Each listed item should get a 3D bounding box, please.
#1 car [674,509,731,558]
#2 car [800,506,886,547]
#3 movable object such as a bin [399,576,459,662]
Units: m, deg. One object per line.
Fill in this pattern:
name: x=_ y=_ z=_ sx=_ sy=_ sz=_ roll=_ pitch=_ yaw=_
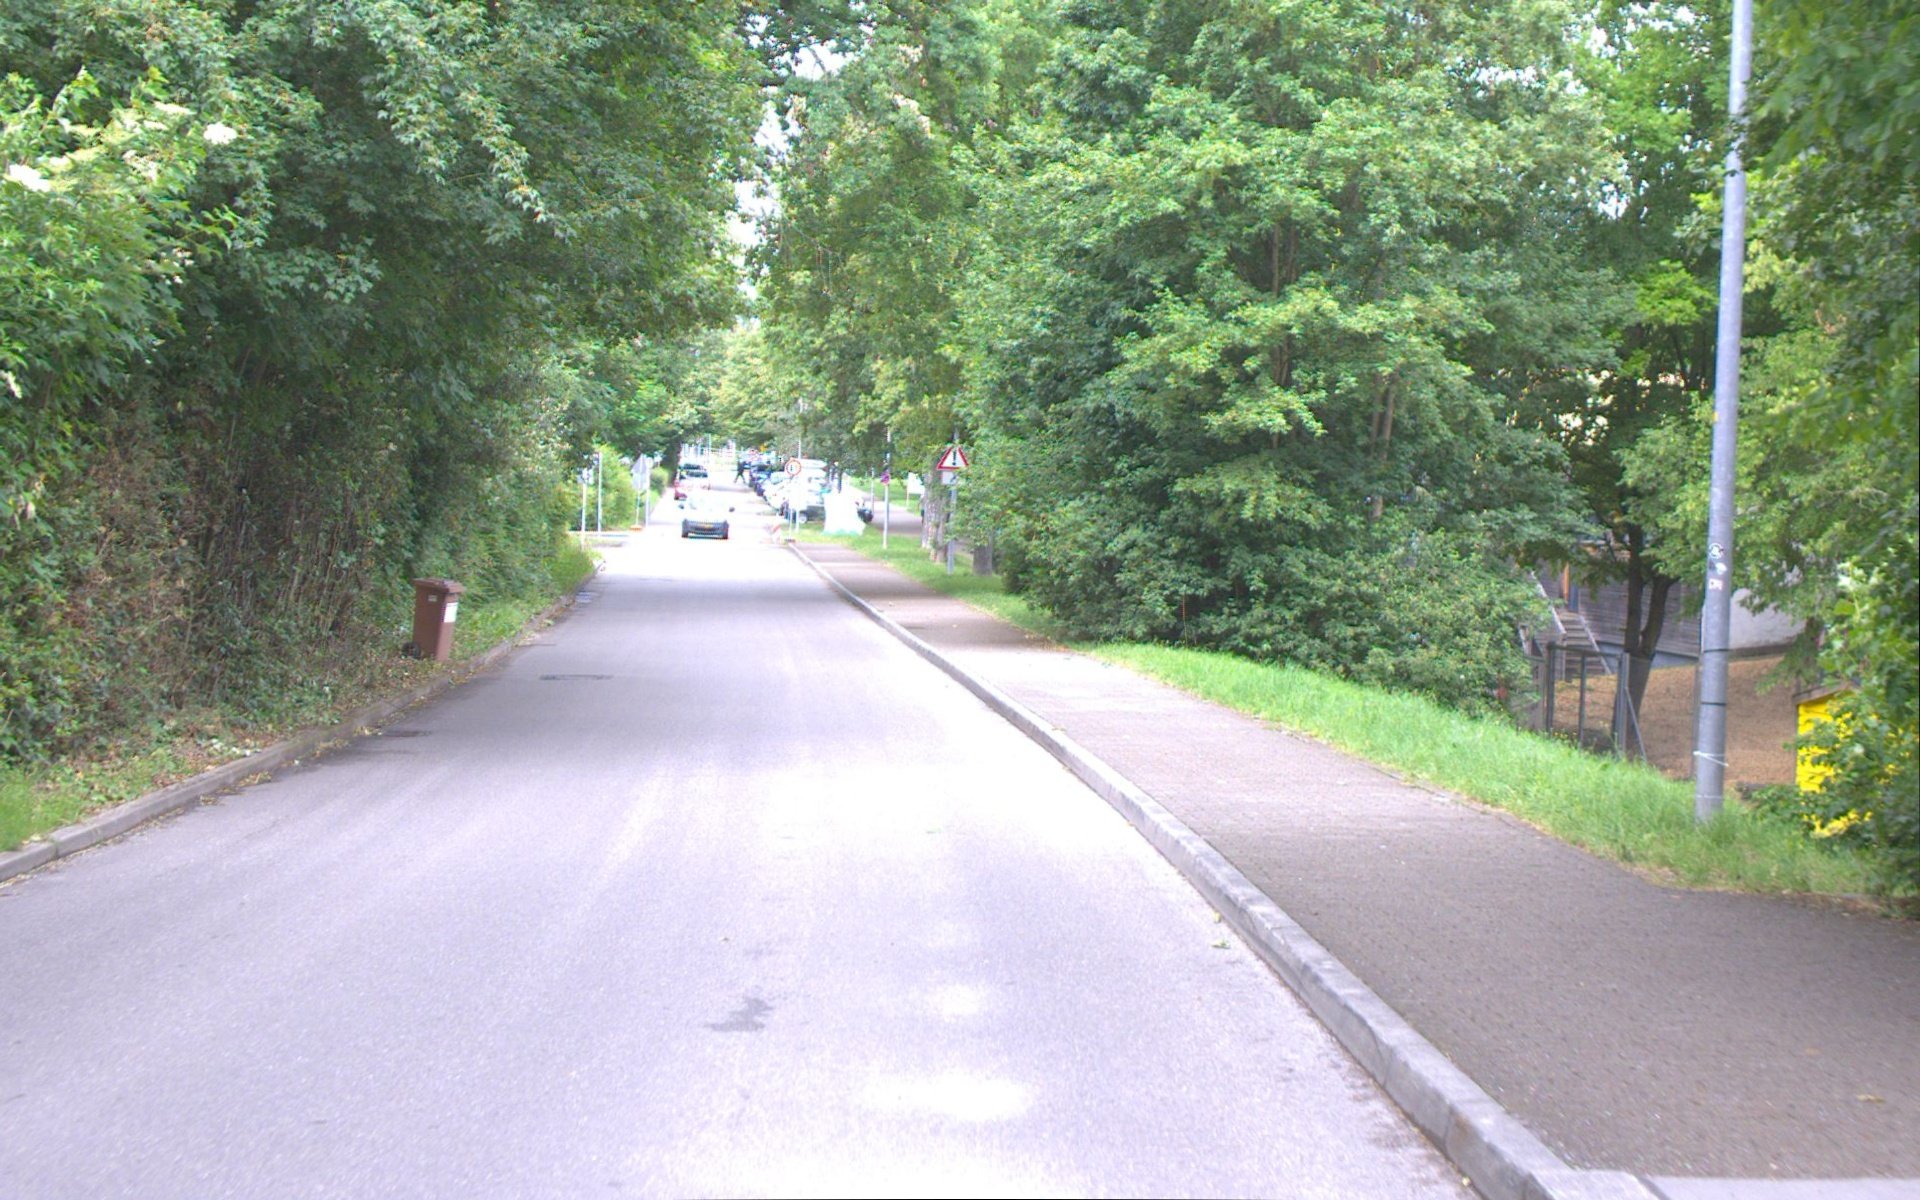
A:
car: x=-9.795 y=-2.527 z=131.139 sx=1.993 sy=1.766 sz=4.000 roll=2 pitch=0 yaw=-3
car: x=-5.510 y=-3.448 z=161.714 sx=3.986 sy=1.766 sz=2.000 roll=2 pitch=0 yaw=-3
movable object such as a bin: x=-5.982 y=0.211 z=38.759 sx=0.590 sy=0.954 sz=0.470 roll=2 pitch=0 yaw=-3
